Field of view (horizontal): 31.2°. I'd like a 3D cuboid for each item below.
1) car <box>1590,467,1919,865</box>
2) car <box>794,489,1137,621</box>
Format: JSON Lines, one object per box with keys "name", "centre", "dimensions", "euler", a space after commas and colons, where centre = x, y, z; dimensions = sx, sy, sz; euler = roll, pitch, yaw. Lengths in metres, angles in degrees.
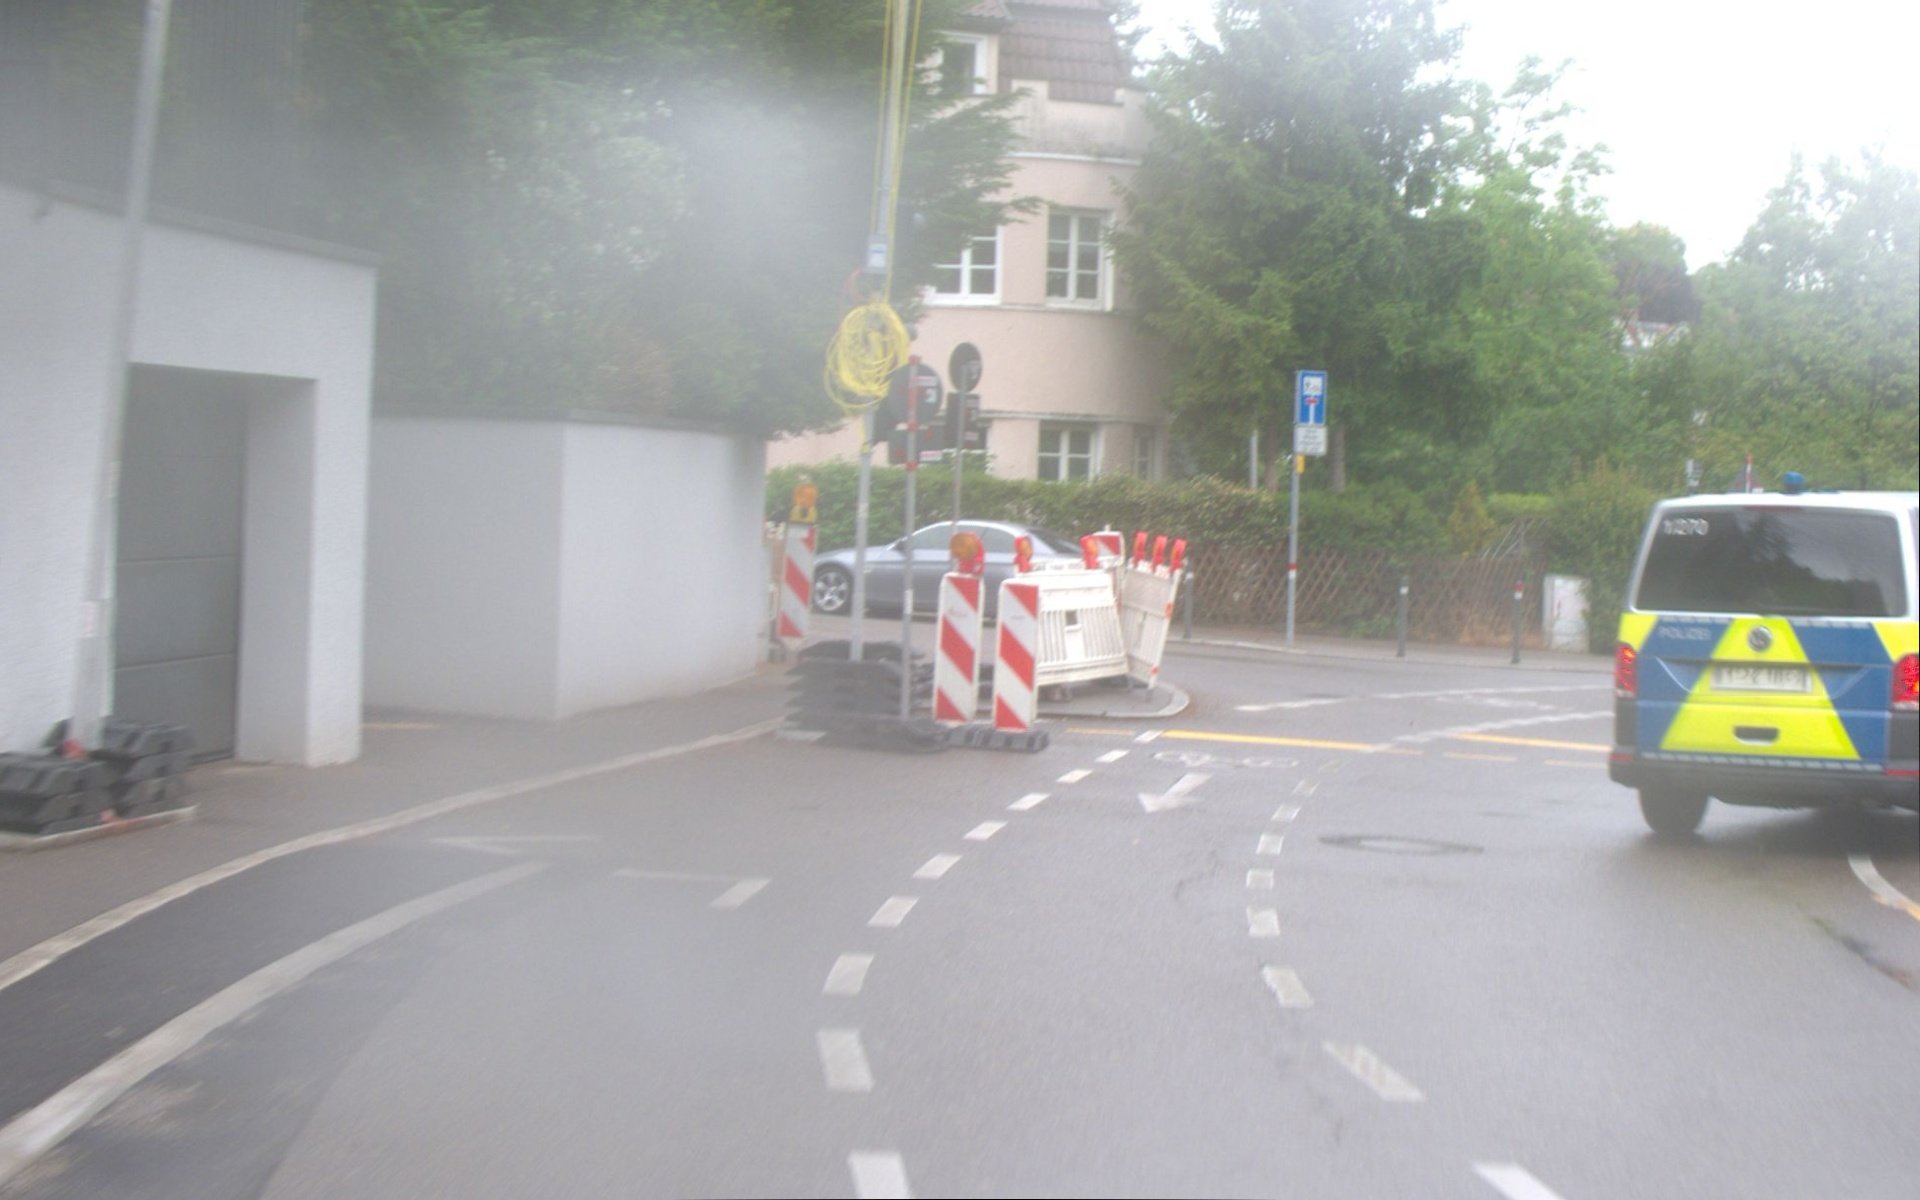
{"name": "car", "centre": [5.370, 0.359, 20.015], "dimensions": [1.911, 2.003, 4.432], "euler": [3, 0, 30]}
{"name": "car", "centre": [0.060, -0.580, 44.102], "dimensions": [3.993, 1.512, 1.725], "euler": [3, 0, 26]}
